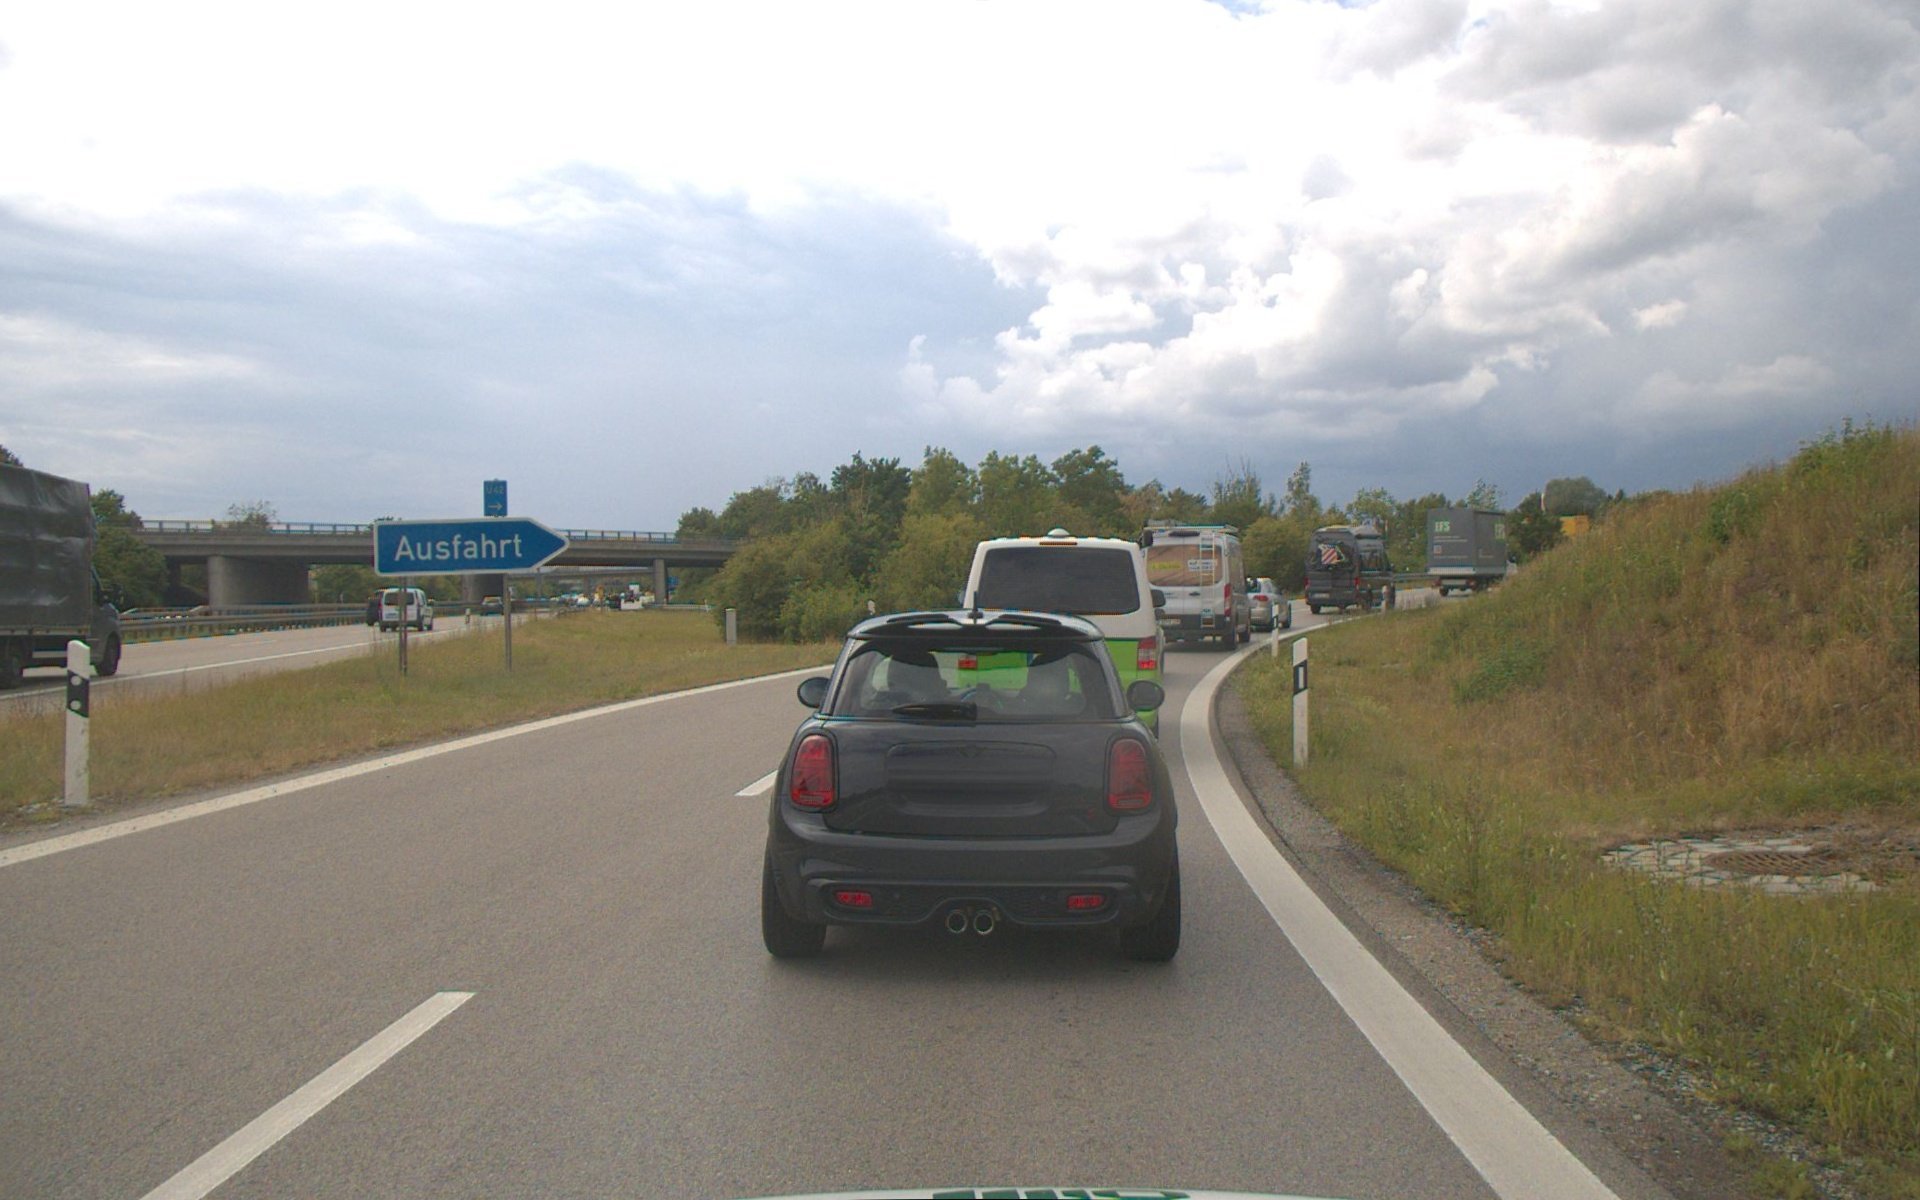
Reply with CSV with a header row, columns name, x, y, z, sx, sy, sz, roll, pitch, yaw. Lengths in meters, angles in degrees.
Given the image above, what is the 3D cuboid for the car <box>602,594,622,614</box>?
name,x,y,z,sx,sy,sz,roll,pitch,yaw
car,-36.257,0.427,172.145,1.958,2.049,3.989,1,-1,-11

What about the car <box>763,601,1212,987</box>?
name,x,y,z,sx,sy,sz,roll,pitch,yaw
car,0.058,0.731,8.107,1.692,1.438,3.724,0,0,-2

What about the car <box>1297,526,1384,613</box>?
name,x,y,z,sx,sy,sz,roll,pitch,yaw
car,13.016,-1.018,56.441,2.063,2.845,3.996,1,1,26

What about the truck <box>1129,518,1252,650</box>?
name,x,y,z,sx,sy,sz,roll,pitch,yaw
truck,5.180,-0.378,36.631,2.132,2.705,5.113,-1,1,14

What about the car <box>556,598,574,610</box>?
name,x,y,z,sx,sy,sz,roll,pitch,yaw
car,-49.381,0.517,206.732,1.747,1.423,4.297,-1,0,-9

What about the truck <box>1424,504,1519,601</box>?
name,x,y,z,sx,sy,sz,roll,pitch,yaw
truck,22.368,-1.979,72.165,2.191,3.975,5.994,0,-1,35

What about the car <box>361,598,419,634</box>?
name,x,y,z,sx,sy,sz,roll,pitch,yaw
car,-29.937,0.824,87.047,1.957,1.817,5.400,-1,0,-9

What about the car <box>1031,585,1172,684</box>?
name,x,y,z,sx,sy,sz,roll,pitch,yaw
car,2.282,0.495,25.824,1.724,1.423,3.728,-1,0,12

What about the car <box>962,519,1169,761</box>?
name,x,y,z,sx,sy,sz,roll,pitch,yaw
car,1.146,0.327,16.123,1.746,2.049,4.003,0,0,7

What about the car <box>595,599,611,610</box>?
name,x,y,z,sx,sy,sz,roll,pitch,yaw
car,-46.198,0.543,214.157,1.747,1.423,4.541,-1,0,-9

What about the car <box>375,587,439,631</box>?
name,x,y,z,sx,sy,sz,roll,pitch,yaw
car,-23.831,0.373,71.391,1.842,1.782,4.477,-1,0,-9

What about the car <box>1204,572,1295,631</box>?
name,x,y,z,sx,sy,sz,roll,pitch,yaw
car,7.992,0.031,45.397,1.827,1.536,4.001,0,0,20

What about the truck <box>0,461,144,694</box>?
name,x,y,z,sx,sy,sz,roll,pitch,yaw
truck,-15.797,-0.286,26.814,2.423,3.430,7.904,-1,0,-10

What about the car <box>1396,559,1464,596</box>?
name,x,y,z,sx,sy,sz,roll,pitch,yaw
car,21.416,-1.003,75.312,1.765,1.583,3.947,-1,-1,35

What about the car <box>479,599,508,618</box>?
name,x,y,z,sx,sy,sz,roll,pitch,yaw
car,-36.805,0.649,130.616,1.690,1.449,4.786,-1,0,-10

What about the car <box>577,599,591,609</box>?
name,x,y,z,sx,sy,sz,roll,pitch,yaw
car,-54.273,0.511,238.971,1.748,1.423,4.295,-1,0,-11
